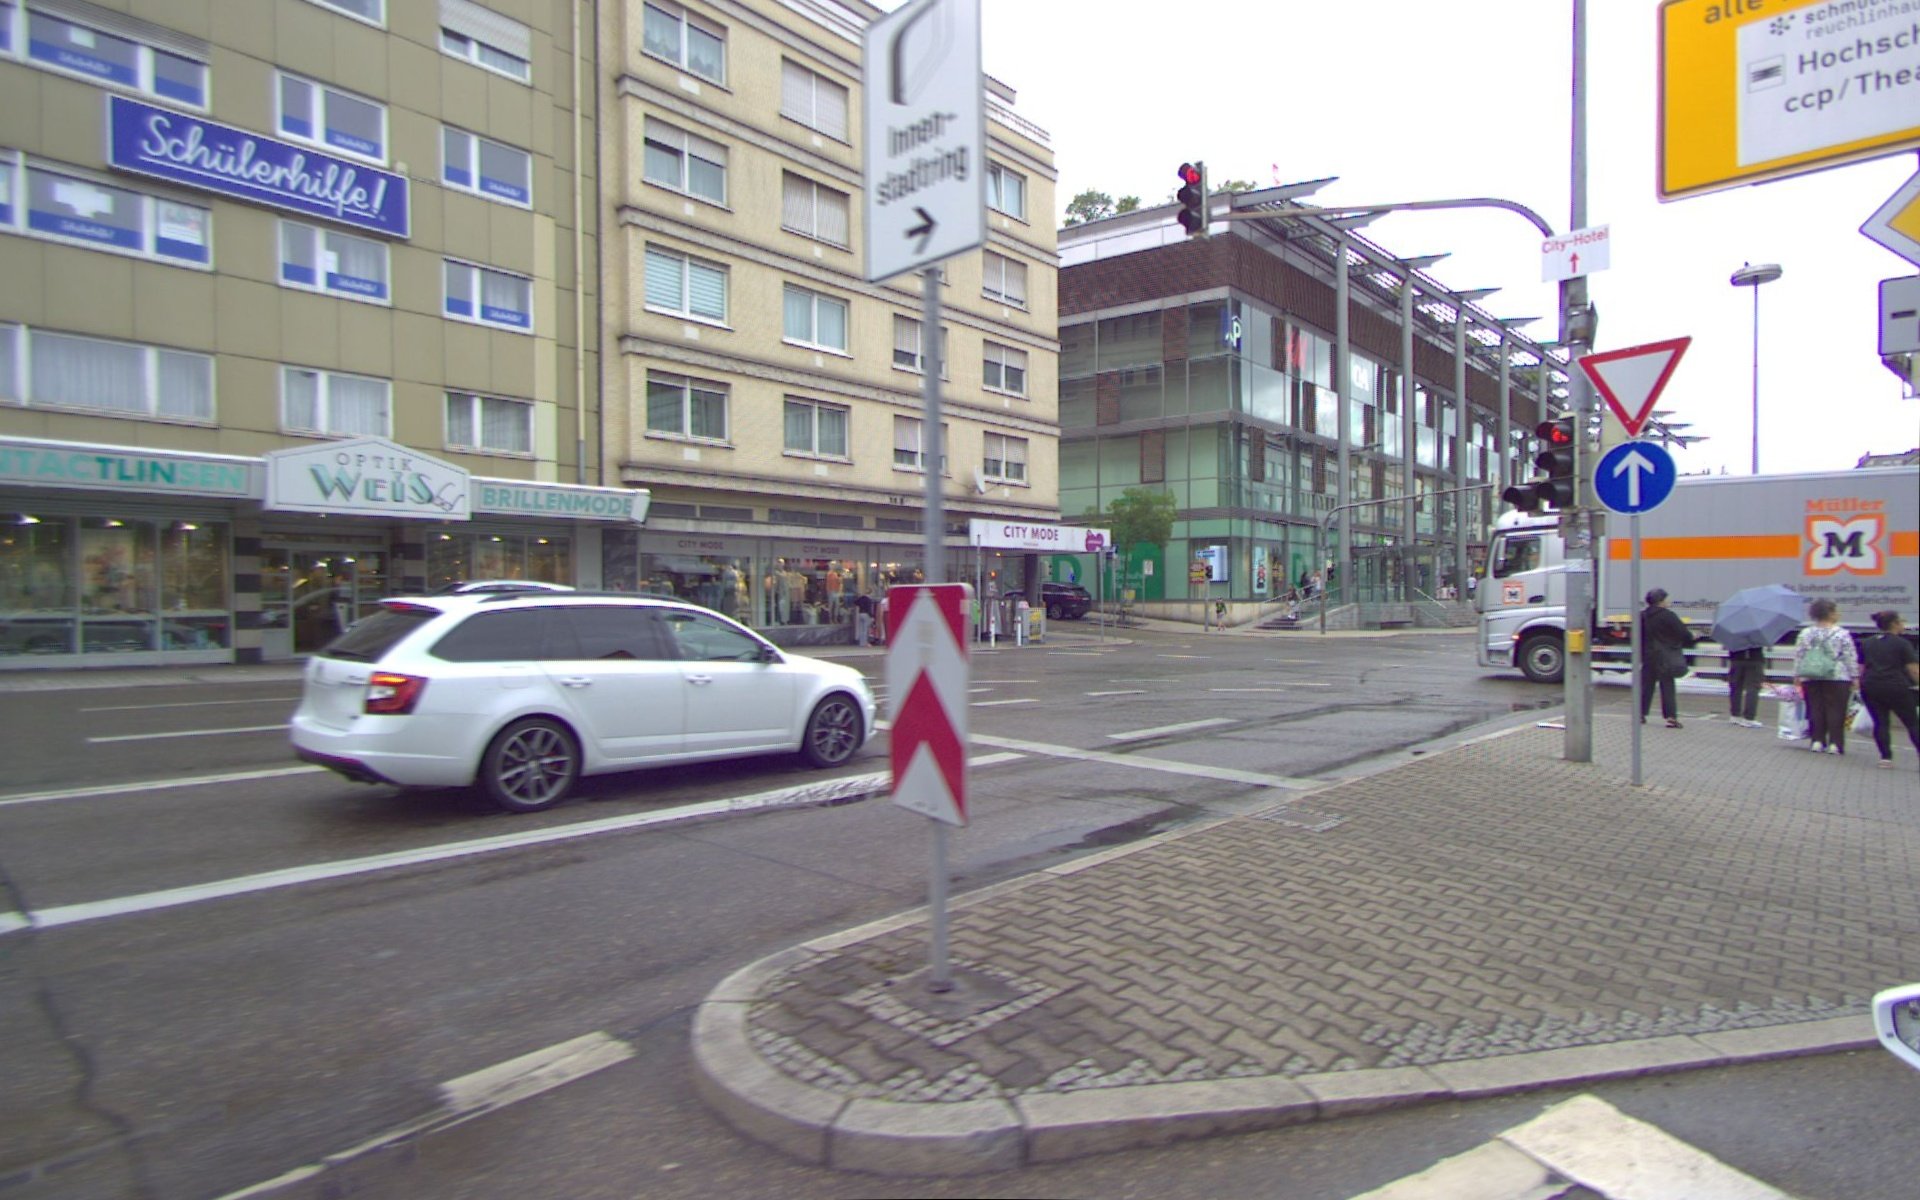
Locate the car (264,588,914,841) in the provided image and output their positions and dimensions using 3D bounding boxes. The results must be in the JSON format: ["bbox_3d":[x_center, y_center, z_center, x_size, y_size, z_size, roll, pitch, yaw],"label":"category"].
[{"bbox_3d":[-2.611,0.664,8.041,1.772,1.434,4.606,1,0,42],"label":"car"}]

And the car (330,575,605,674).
[{"bbox_3d":[-8.829,0.408,18.240,1.682,1.584,4.175,2,1,45],"label":"car"}]

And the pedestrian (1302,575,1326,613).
[{"bbox_3d":[18.759,-0.318,53.198,0.865,2.007,0.845,2,1,43],"label":"pedestrian"}]

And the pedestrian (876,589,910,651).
[{"bbox_3d":[-1.832,0.548,27.454,0.829,1.649,0.774,2,1,0],"label":"pedestrian"}]

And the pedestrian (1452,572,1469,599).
[{"bbox_3d":[32.640,-0.917,65.551,0.817,1.736,0.799,2,1,38],"label":"pedestrian"}]

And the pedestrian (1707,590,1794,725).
[{"bbox_3d":[10.552,0.753,13.416,0.688,1.714,0.749,3,0,-42],"label":"pedestrian"}]

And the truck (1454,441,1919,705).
[{"bbox_3d":[15.497,-0.471,19.002,10.616,4.391,2.840,2,1,42],"label":"truck"}]

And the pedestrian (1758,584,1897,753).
[{"bbox_3d":[9.386,0.698,10.878,0.908,1.694,0.969,1,2,-41],"label":"pedestrian"}]

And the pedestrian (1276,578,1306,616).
[{"bbox_3d":[15.677,-0.136,47.526,1.026,1.736,1.003,2,1,38],"label":"pedestrian"}]

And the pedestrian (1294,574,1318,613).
[{"bbox_3d":[18.092,-0.335,52.512,0.871,2.007,0.969,2,1,43],"label":"pedestrian"}]

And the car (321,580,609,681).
[{"bbox_3d":[-8.887,0.470,18.312,1.827,1.571,4.375,3,3,42],"label":"car"}]

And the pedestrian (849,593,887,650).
[{"bbox_3d":[-2.582,0.594,28.109,0.776,1.557,0.678,2,1,41],"label":"pedestrian"}]

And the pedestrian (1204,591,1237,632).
[{"bbox_3d":[11.465,0.508,44.230,0.992,1.736,1.037,1,1,-19],"label":"pedestrian"}]

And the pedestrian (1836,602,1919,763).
[{"bbox_3d":[9.149,0.794,9.870,0.556,1.507,0.698,2,1,-42],"label":"pedestrian"}]

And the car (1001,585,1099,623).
[{"bbox_3d":[4.242,0.162,47.451,4.224,1.567,1.800,3,2,34],"label":"car"}]

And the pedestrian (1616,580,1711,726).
[{"bbox_3d":[8.833,0.644,12.611,0.702,1.734,0.776,2,1,-42],"label":"pedestrian"}]

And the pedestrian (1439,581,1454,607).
[{"bbox_3d":[32.012,-0.394,66.103,0.672,1.736,0.847,2,1,38],"label":"pedestrian"}]

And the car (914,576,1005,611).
[{"bbox_3d":[-0.051,-0.370,50.839,4.307,1.567,1.893,3,4,34],"label":"car"}]

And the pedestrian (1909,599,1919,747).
[{"bbox_3d":[10.799,0.807,10.833,0.848,1.589,0.706,2,1,-42],"label":"pedestrian"}]

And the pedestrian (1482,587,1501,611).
[{"bbox_3d":[38.035,-0.080,71.913,1.026,1.736,1.003,2,1,38],"label":"pedestrian"}]
